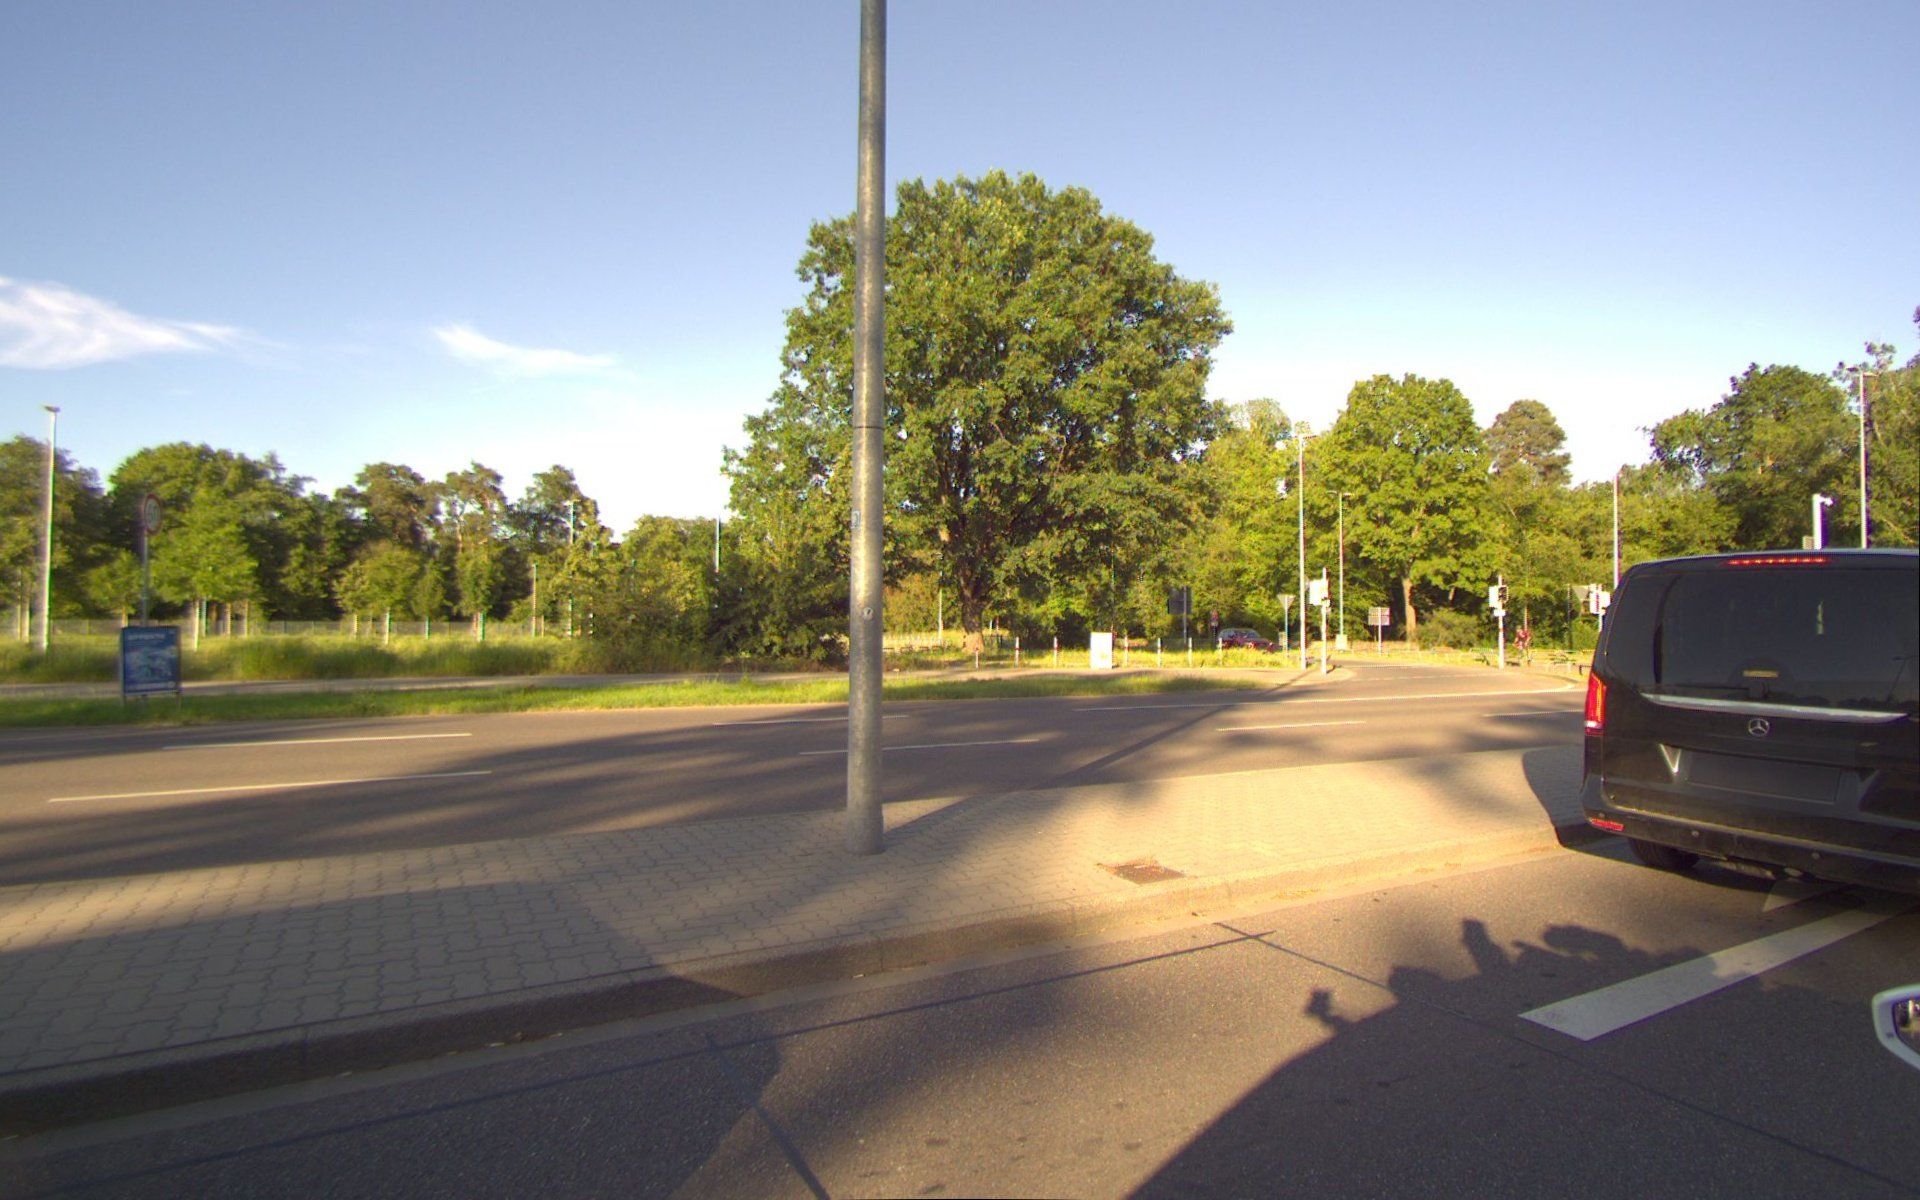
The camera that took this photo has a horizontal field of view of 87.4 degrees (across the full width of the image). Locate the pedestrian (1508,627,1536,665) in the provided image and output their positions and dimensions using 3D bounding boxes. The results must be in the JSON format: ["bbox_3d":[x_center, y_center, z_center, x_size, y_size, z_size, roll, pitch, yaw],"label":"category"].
[{"bbox_3d":[23.467,1.915,41.954,0.664,1.564,0.737,2,0,-27],"label":"pedestrian"}]

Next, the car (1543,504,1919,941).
[{"bbox_3d":[5.875,0.567,6.137,4.817,1.881,1.897,1,0,-31],"label":"car"}]

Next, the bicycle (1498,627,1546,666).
[{"bbox_3d":[23.494,1.957,41.988,1.996,1.571,0.748,2,0,-27],"label":"bicycle"}]

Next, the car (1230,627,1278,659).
[{"bbox_3d":[16.711,2.400,57.305,1.959,1.639,4.002,2,0,7],"label":"car"}]

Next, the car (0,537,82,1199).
[{"bbox_3d":[-3.342,0.607,0.574,3.955,1.557,1.868,2,0,-31],"label":"car"}]
